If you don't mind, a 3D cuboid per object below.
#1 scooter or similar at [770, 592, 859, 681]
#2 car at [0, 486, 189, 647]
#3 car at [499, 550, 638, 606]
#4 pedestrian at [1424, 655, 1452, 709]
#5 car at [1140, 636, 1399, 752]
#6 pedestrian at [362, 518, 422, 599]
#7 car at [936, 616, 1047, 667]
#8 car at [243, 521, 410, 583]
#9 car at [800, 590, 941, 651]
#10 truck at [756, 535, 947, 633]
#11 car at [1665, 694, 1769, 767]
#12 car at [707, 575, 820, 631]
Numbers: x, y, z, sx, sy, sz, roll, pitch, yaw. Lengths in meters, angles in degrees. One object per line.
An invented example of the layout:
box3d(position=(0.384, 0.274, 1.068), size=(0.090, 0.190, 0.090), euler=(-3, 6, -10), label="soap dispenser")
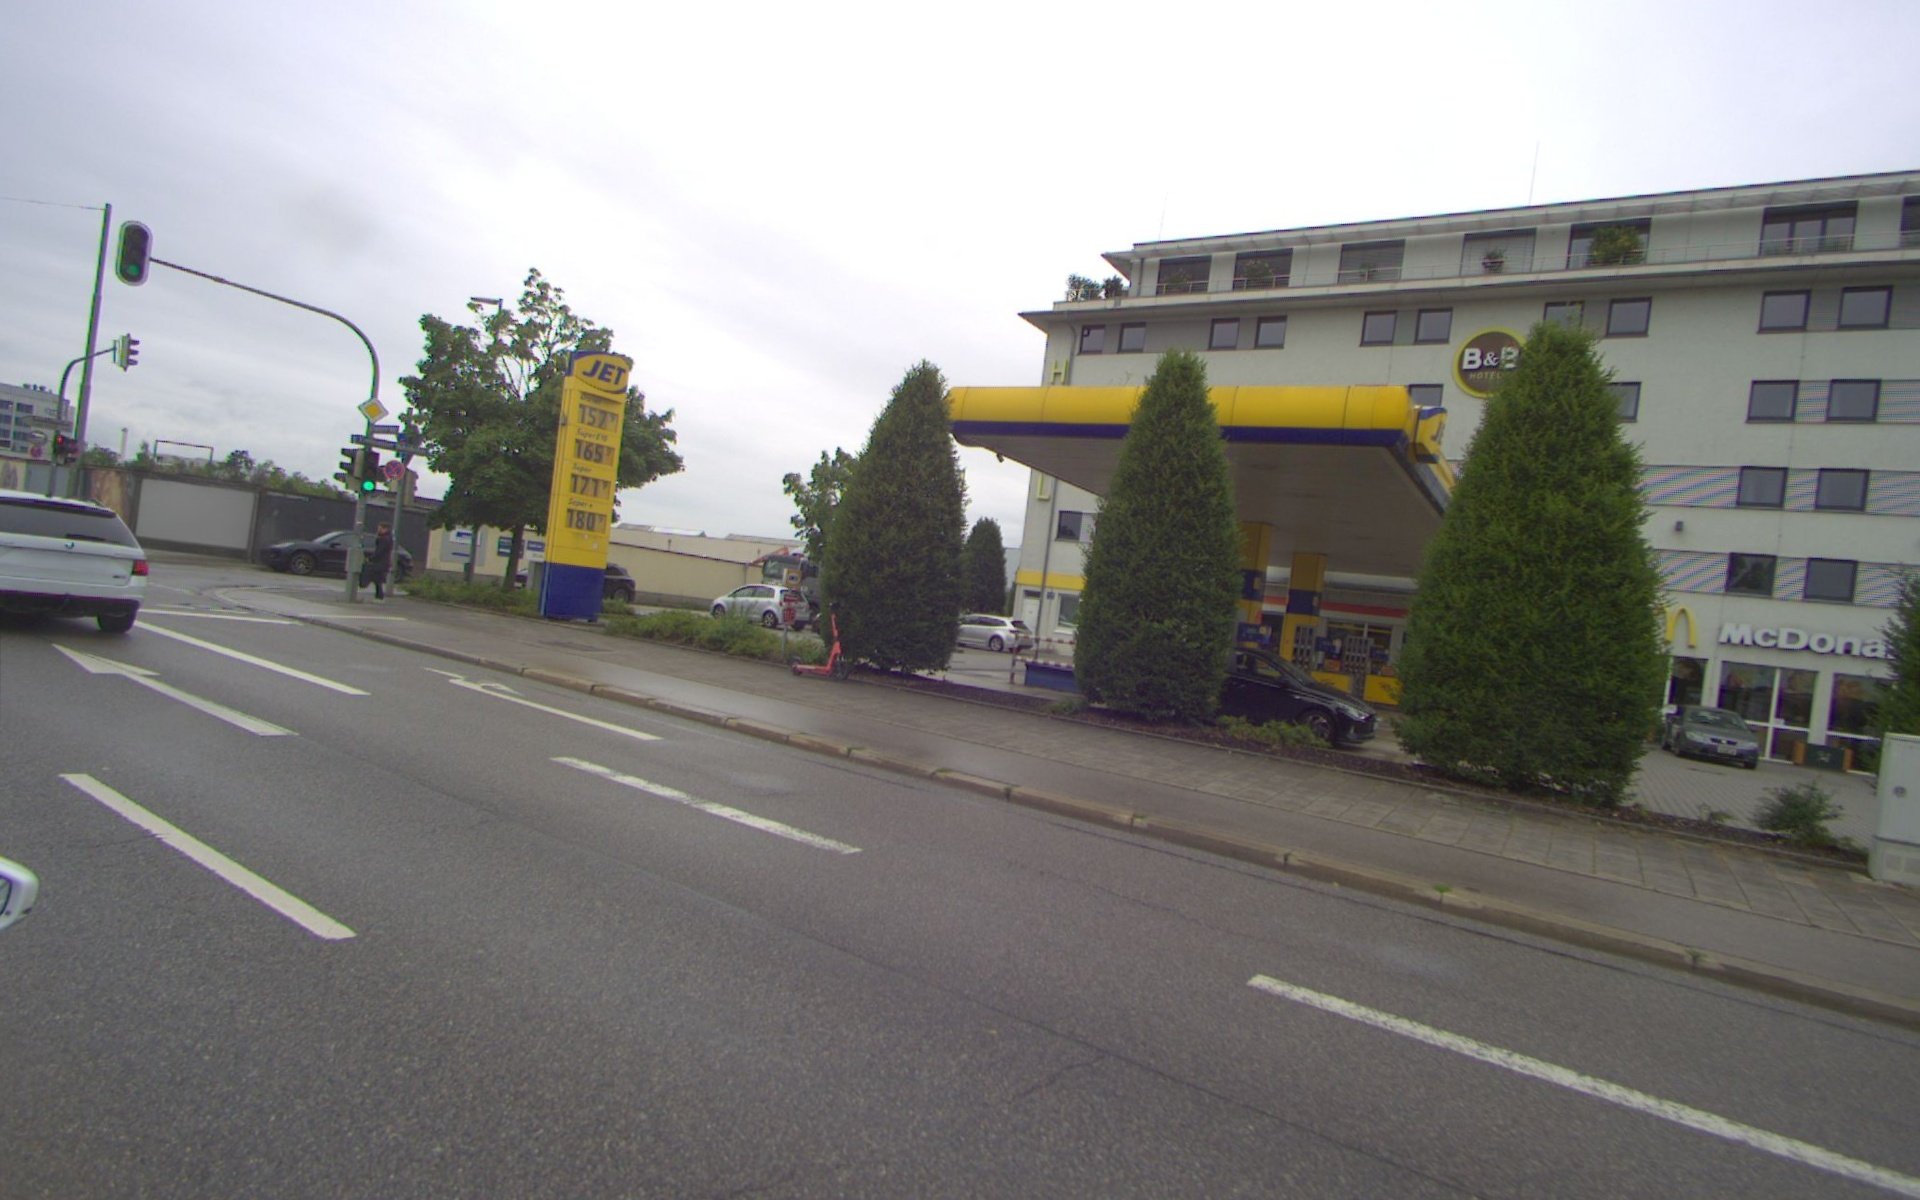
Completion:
box3d(position=(-2.366, 0.569, 16.245), size=(1.522, 1.259, 0.355), euler=(7, 3, 38), label="scooter or similar")
box3d(position=(-10.986, -0.540, 11.616), size=(4.429, 1.485, 1.880), euler=(7, -2, 34), label="car")
box3d(position=(-15.108, -0.819, 39.048), size=(1.969, 1.551, 4.619), euler=(7, 0, 35), label="car")
box3d(position=(16.275, 2.792, 34.228), size=(0.632, 1.749, 0.708), euler=(8, -1, 29), label="pedestrian")
box3d(position=(5.422, 1.613, 17.711), size=(3.933, 1.347, 1.798), euler=(7, -1, 31), label="car")
box3d(position=(-12.238, -0.883, 21.670), size=(0.676, 1.636, 0.802), euler=(7, 3, 32), label="pedestrian")
box3d(position=(1.322, 1.725, 42.345), size=(4.124, 1.495, 1.906), euler=(7, -1, 32), label="car")
box3d(position=(-21.226, -1.583, 33.882), size=(1.969, 1.445, 4.252), euler=(7, 0, 35), label="car")
box3d(position=(-3.004, 0.683, 33.755), size=(4.284, 1.400, 1.704), euler=(8, -1, 23), label="car")
box3d(position=(-5.388, -0.628, 53.532), size=(2.569, 3.903, 11.902), euler=(7, 0, 35), label="truck")
box3d(position=(20.863, 3.546, 27.872), size=(1.678, 1.606, 3.994), euler=(7, -1, 31), label="car")
box3d(position=(-7.320, 0.091, 37.448), size=(3.911, 1.503, 1.627), euler=(7, -1, 31), label="car")
